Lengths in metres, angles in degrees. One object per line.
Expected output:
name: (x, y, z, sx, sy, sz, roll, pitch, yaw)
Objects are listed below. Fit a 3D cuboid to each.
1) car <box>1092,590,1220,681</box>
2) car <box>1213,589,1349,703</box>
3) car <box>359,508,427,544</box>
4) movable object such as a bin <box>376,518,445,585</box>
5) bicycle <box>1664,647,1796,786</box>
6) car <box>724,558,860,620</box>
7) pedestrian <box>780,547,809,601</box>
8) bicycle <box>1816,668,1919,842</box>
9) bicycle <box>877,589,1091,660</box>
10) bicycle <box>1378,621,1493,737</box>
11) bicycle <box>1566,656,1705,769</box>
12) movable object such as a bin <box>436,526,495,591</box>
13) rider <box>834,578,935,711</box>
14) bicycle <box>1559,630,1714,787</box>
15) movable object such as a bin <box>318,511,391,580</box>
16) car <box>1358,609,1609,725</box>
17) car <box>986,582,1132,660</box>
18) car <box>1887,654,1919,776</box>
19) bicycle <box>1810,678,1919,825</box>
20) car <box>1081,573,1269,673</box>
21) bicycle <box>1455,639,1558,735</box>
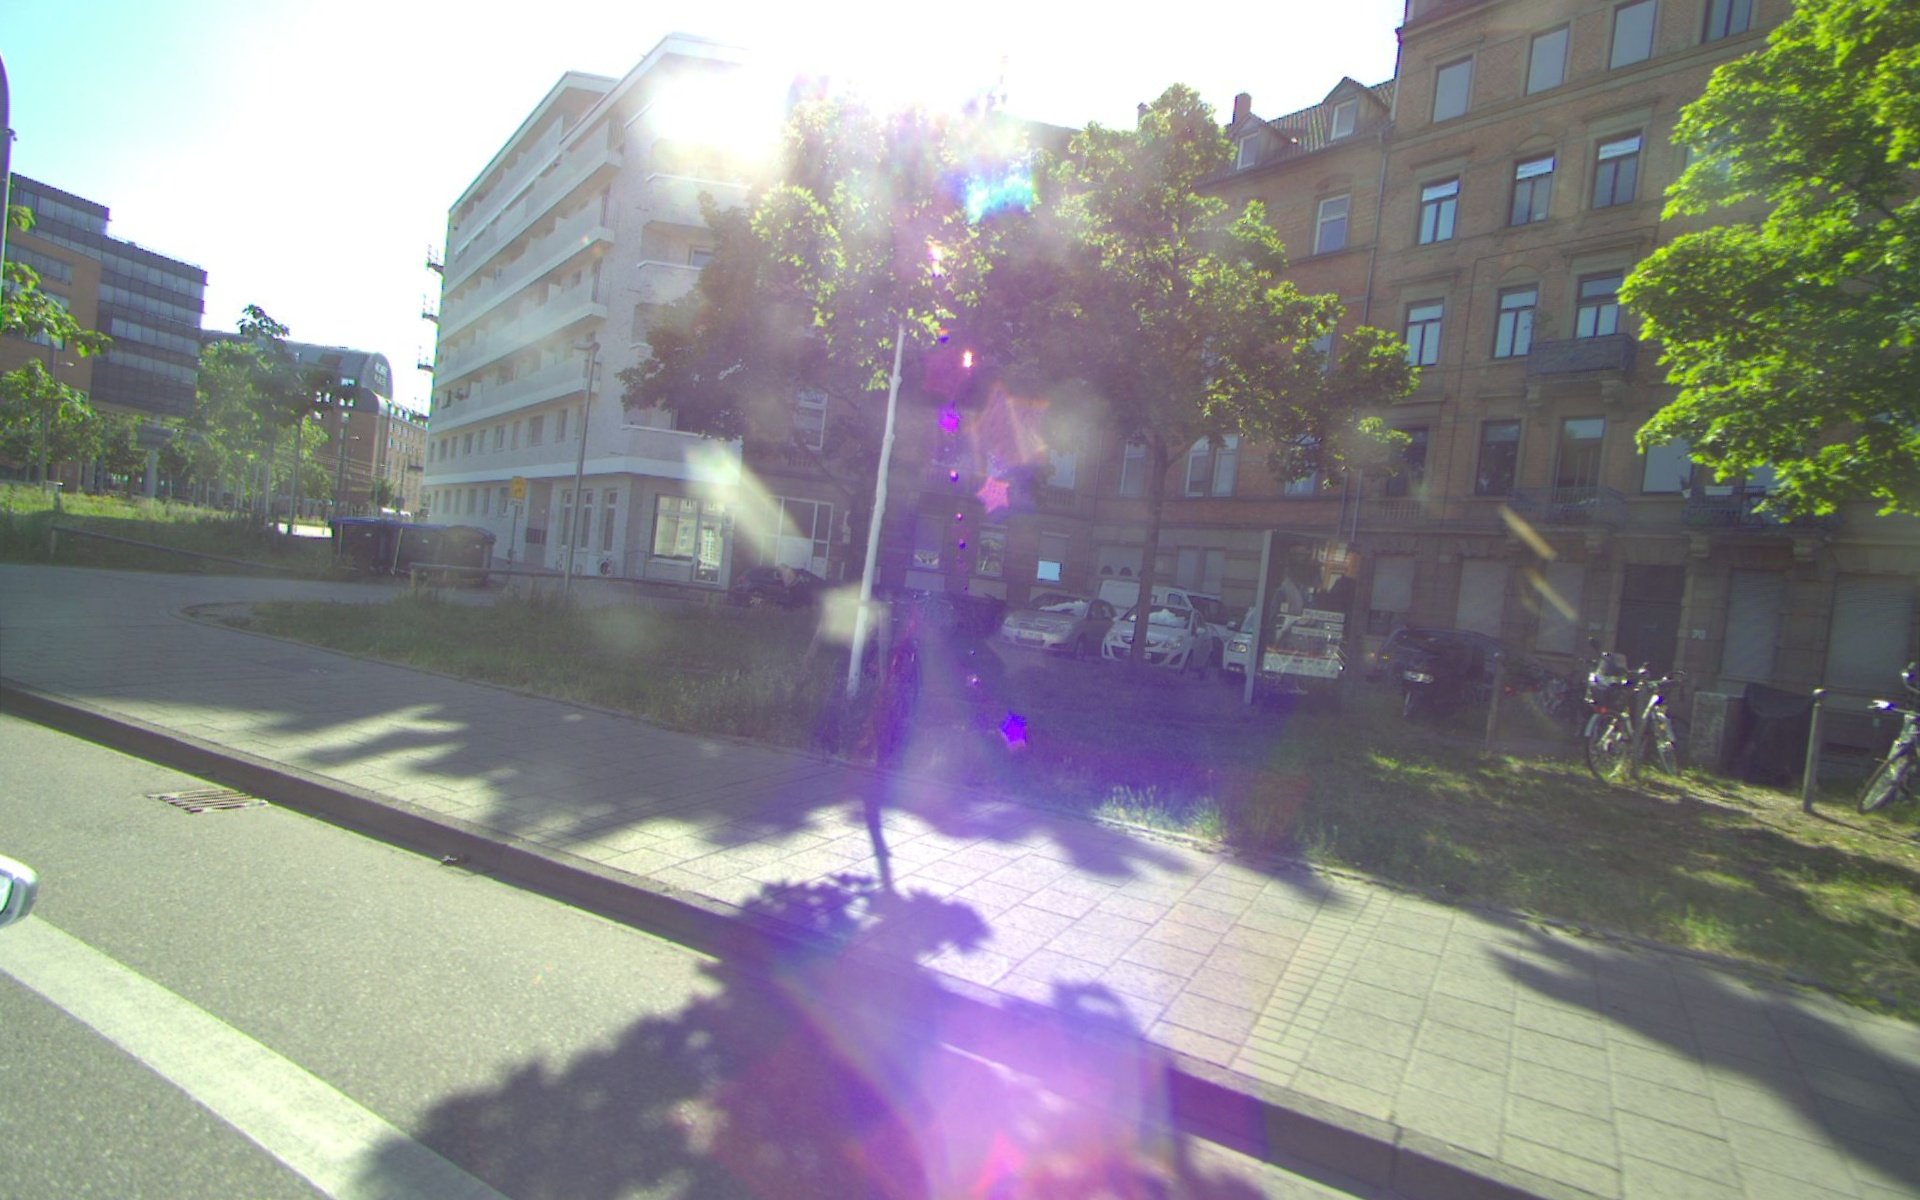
car: (4.031, 0.718, 20.210, 1.727, 1.459, 3.842, 7, 0, 21)
car: (5.877, 0.808, 18.159, 1.902, 1.585, 4.469, 7, 0, 21)
car: (-41.157, -5.363, 73.103, 3.946, 2.039, 1.989, 7, 1, -23)
movable object such as a bin: (-13.043, -1.137, 23.945, 1.094, 1.416, 1.315, 6, 1, -18)
bicycle: (8.869, 1.322, 11.547, 2.086, 1.382, 0.777, 6, 1, -44)
car: (-5.406, -0.346, 32.403, 4.040, 1.454, 1.996, 7, 0, -11)
pedestrian: (-5.154, -0.795, 31.311, 0.631, 1.597, 0.771, 6, 1, -1)
bicycle: (8.061, 1.310, 8.147, 0.755, 1.307, 1.596, 6, 2, 2)
bicycle: (0.514, 0.592, 26.088, 2.665, 1.141, 5.158, 7, 0, -43)
bicycle: (6.599, 1.100, 13.895, 0.776, 1.416, 2.090, 7, 1, 41)
bicycle: (8.267, 1.366, 12.266, 2.154, 1.173, 0.812, 6, 1, -42)
movable object such as a bin: (-12.038, -1.011, 24.525, 1.017, 1.416, 1.086, 6, 1, -18)
rider: (-0.829, 0.426, 10.578, 0.496, 1.191, 1.667, 6, 2, -20)
bicycle: (6.967, 1.102, 10.309, 2.086, 1.382, 0.777, 6, 1, -44)
movable object such as a bin: (-13.959, -1.253, 23.234, 1.056, 1.416, 1.298, 6, 1, -18)
car: (12.103, 1.483, 23.575, 1.982, 2.004, 4.674, 4, 3, -37)
car: (2.251, 0.500, 21.905, 1.807, 1.354, 4.052, 7, 0, 25)
car: (18.183, 2.191, 15.964, 1.982, 2.004, 4.674, 4, 3, -37)
bicycle: (9.083, 1.425, 9.750, 1.946, 1.207, 0.832, 4, 2, -39)
car: (6.406, 0.628, 30.547, 2.335, 2.389, 5.133, 4, 3, -37)
bicycle: (9.094, 1.402, 16.842, 0.772, 1.382, 2.101, 7, 0, 11)
